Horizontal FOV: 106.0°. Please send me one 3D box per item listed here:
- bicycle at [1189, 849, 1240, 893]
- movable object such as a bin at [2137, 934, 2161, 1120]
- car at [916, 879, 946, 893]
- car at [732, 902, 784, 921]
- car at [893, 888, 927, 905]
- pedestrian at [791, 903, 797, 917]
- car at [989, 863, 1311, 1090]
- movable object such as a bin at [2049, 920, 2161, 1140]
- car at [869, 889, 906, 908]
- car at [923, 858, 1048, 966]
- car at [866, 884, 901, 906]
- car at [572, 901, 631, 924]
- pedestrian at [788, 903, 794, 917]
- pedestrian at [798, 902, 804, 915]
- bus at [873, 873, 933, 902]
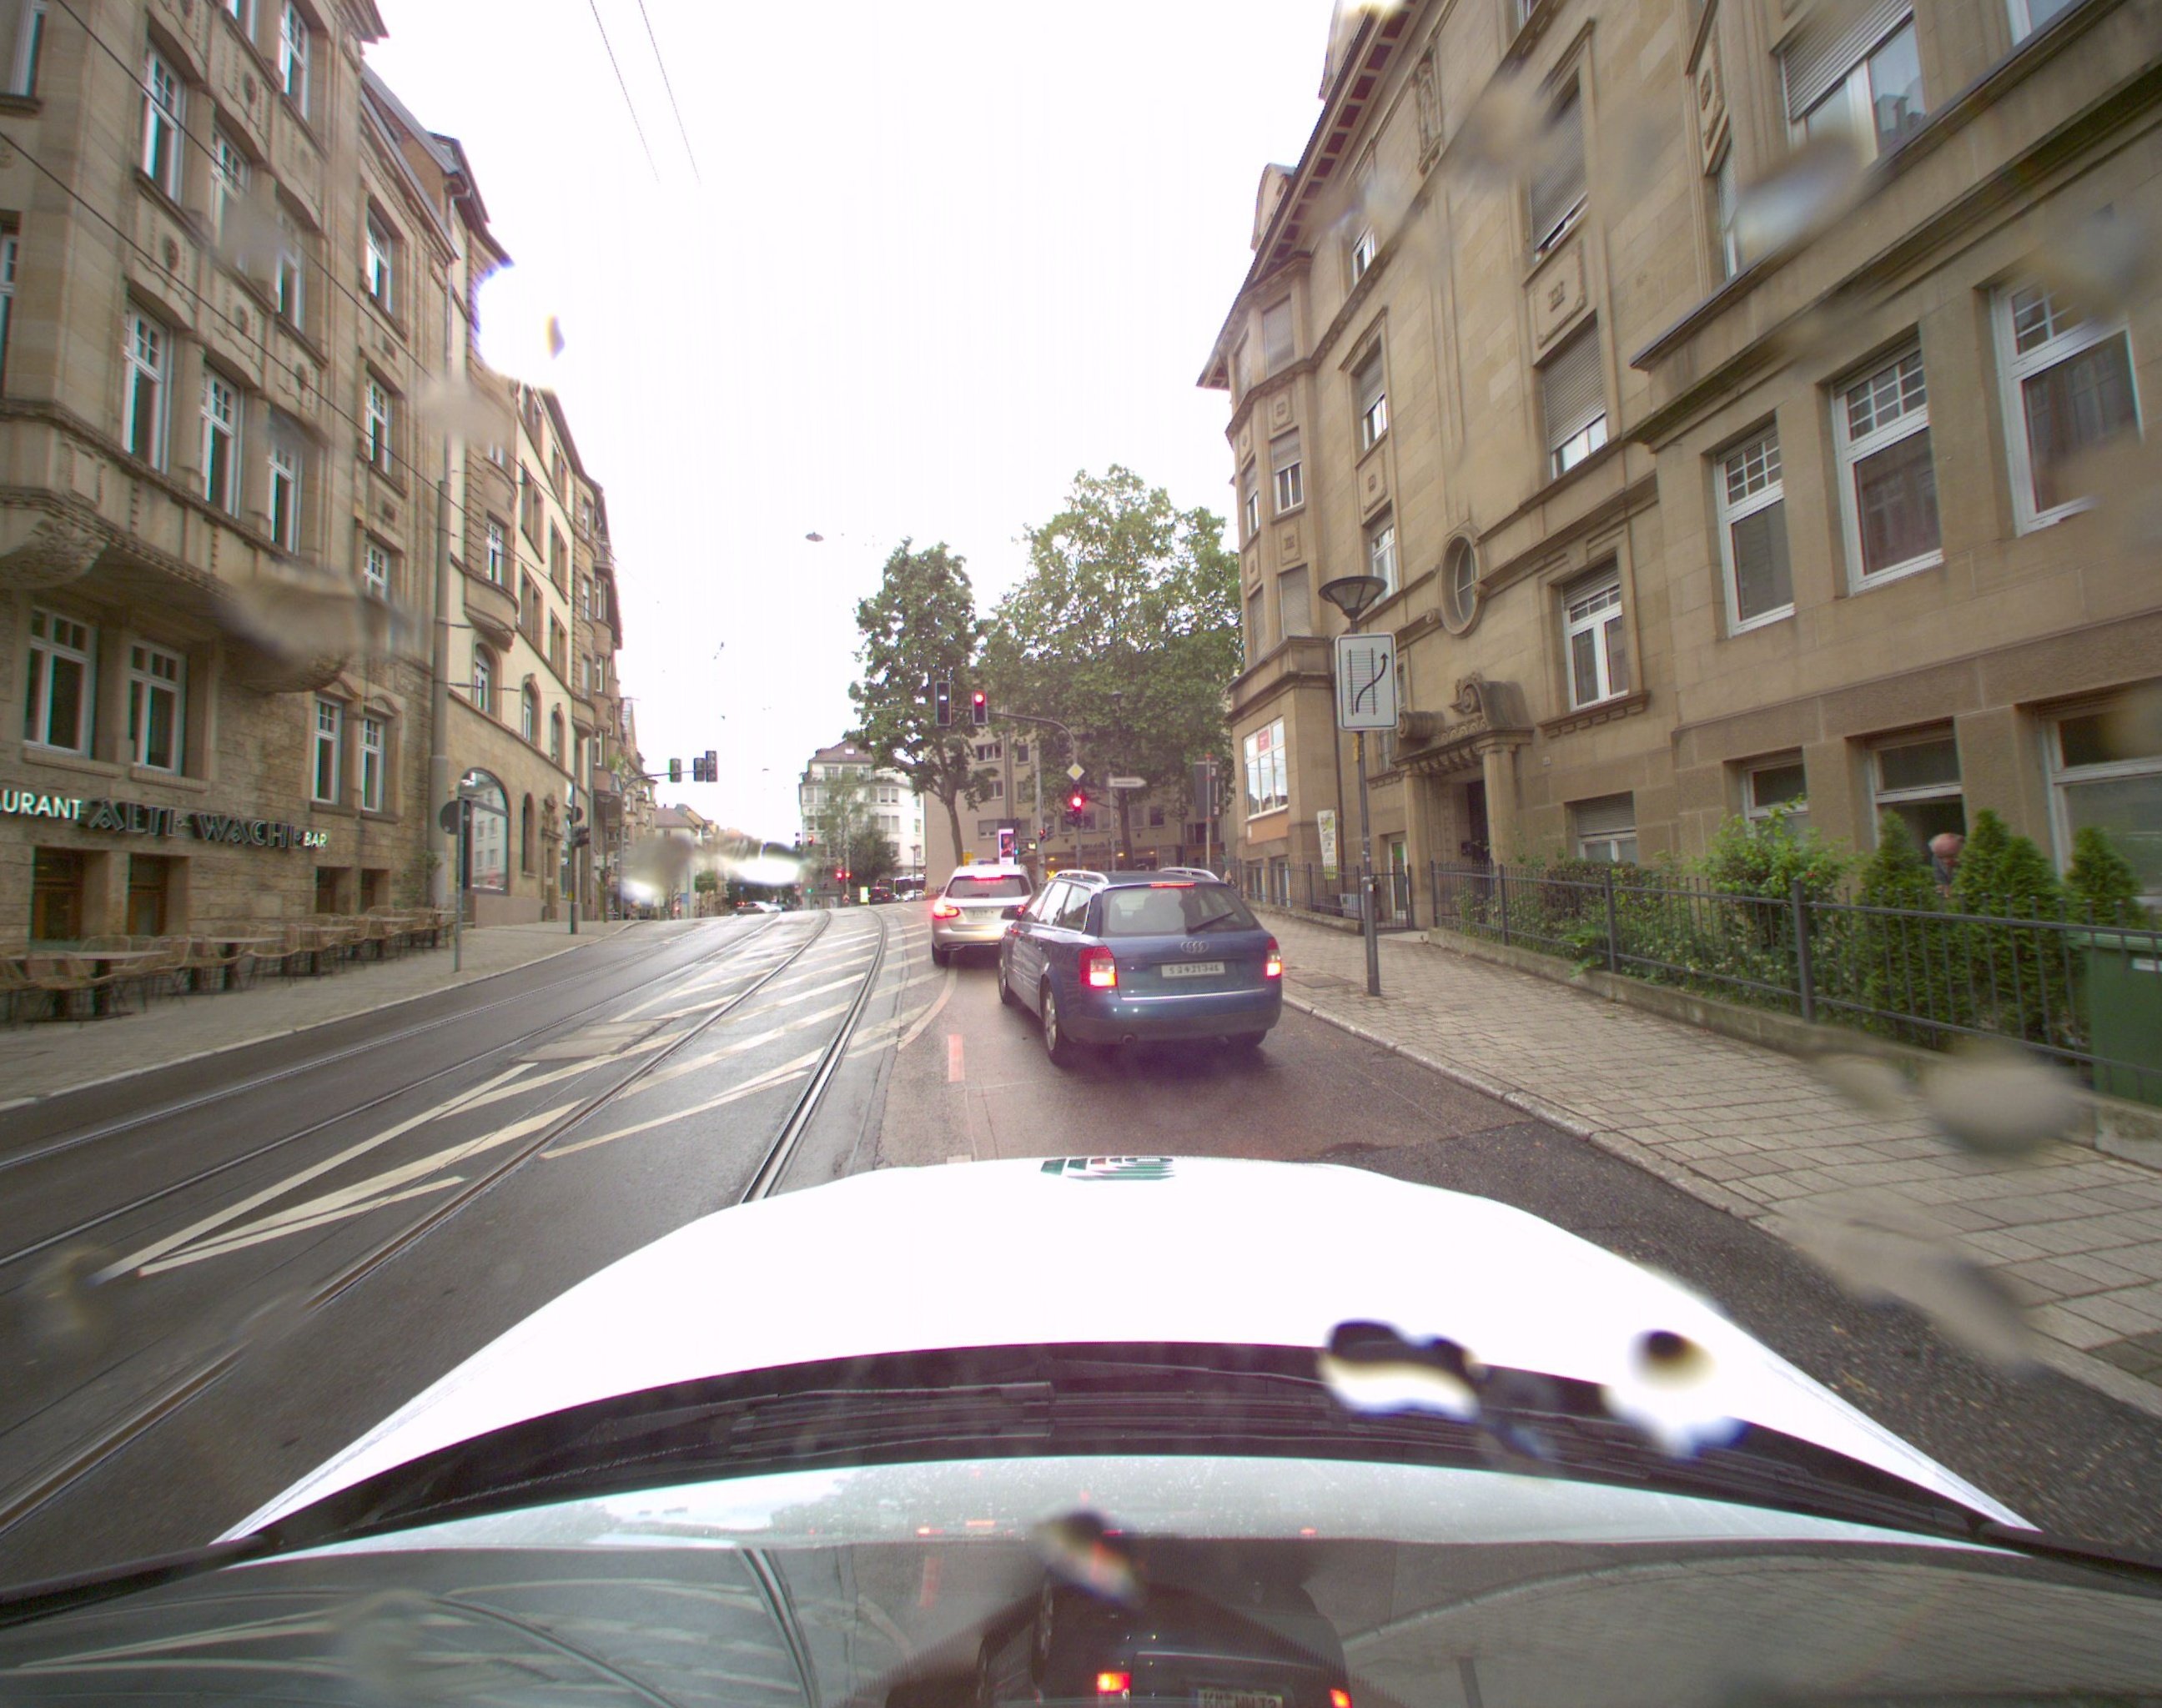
[{"bbox_3d":[3.919,0.481,23.889,1.300,1.173,0.524,-4,0,-11],"label":"bicycle"},{"bbox_3d":[5.988,0.916,4.119,0.537,0.968,0.602,2,-2,-10],"label":"movable object such as a bin"},{"bbox_3d":[-18.756,4.018,102.094,1.779,1.510,4.020,-3,0,20],"label":"car"},{"bbox_3d":[-29.071,5.170,73.301,4.606,1.510,1.811,-3,0,29],"label":"car"},{"bbox_3d":[-18.665,4.621,88.996,1.779,1.510,4.020,-3,0,20],"label":"car"},{"bbox_3d":[-34.855,6.845,98.885,0.650,1.661,0.646,-1,-1,-18],"label":"pedestrian"},{"bbox_3d":[0.292,0.824,7.488,1.713,1.415,4.016,-1,0,-14],"label":"car"},{"bbox_3d":[5.412,0.863,4.032,0.537,1.026,0.602,2,-2,-10],"label":"movable object such as a bin"},{"bbox_3d":[-19.954,4.573,84.237,1.779,1.614,4.020,-3,0,20],"label":"car"},{"bbox_3d":[-1.493,0.819,13.214,1.708,1.456,3.546,-1,0,-5],"label":"car"},{"bbox_3d":[-16.612,3.418,68.537,1.788,1.510,4.000,-5,0,1],"label":"car"},{"bbox_3d":[-39.776,4.840,67.633,4.008,1.510,1.785,-2,0,-26],"label":"car"},{"bbox_3d":[-36.206,7.003,101.570,0.650,1.661,0.646,-1,-1,-18],"label":"pedestrian"},{"bbox_3d":[-37.373,7.325,108.717,0.650,1.661,0.646,-1,-1,-18],"label":"pedestrian"},{"bbox_3d":[-20.699,3.884,95.146,2.832,2.861,8.771,-3,0,16],"label":"bus"}]
